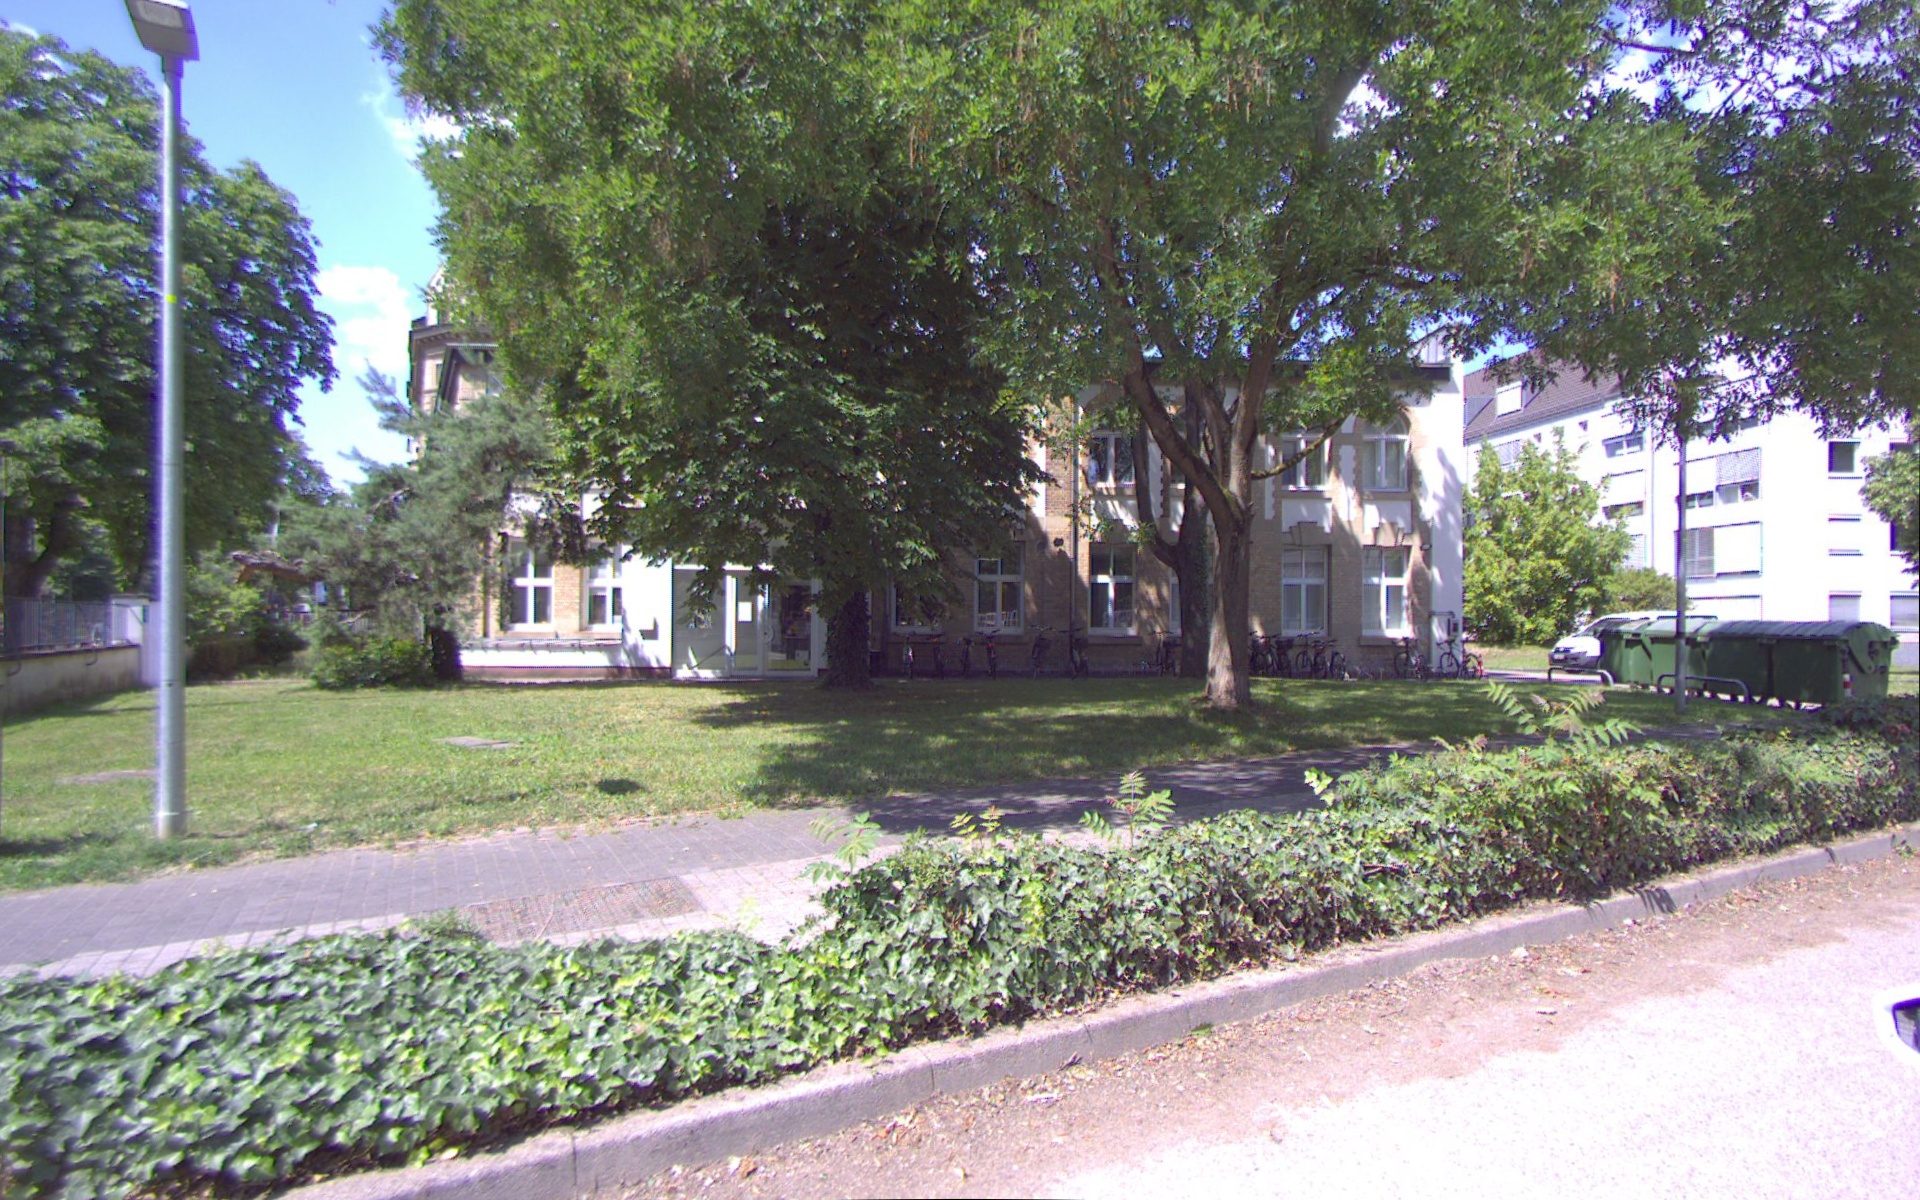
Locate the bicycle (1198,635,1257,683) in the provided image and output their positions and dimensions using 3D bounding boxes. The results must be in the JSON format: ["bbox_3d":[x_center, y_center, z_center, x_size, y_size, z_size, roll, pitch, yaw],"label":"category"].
[{"bbox_3d":[6.312,1.367,23.814,0.596,1.025,2.258,0,-1,-5],"label":"bicycle"}]

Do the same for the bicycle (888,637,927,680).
[{"bbox_3d":[-1.239,1.333,23.249,0.644,0.902,2.256,0,-1,-9],"label":"bicycle"}]

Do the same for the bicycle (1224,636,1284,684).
[{"bbox_3d":[6.964,1.403,23.891,0.596,1.025,2.258,0,-1,-5],"label":"bicycle"}]

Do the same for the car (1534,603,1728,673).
[{"bbox_3d":[20.543,1.162,30.884,4.682,2.040,2.000,0,-1,-2],"label":"car"}]

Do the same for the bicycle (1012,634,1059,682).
[{"bbox_3d":[1.760,1.338,23.719,0.596,1.025,2.256,0,-1,-9],"label":"bicycle"}]

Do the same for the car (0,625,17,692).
[{"bbox_3d":[-21.725,1.285,21.030,1.927,1.463,3.747,0,-1,-27],"label":"car"}]

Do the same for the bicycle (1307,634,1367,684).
[{"bbox_3d":[8.979,1.375,24.008,0.595,1.096,2.260,0,-1,0],"label":"bicycle"}]

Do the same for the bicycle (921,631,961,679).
[{"bbox_3d":[-0.465,1.269,23.533,0.621,1.025,2.256,0,-1,-9],"label":"bicycle"}]

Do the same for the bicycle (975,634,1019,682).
[{"bbox_3d":[0.846,1.332,23.636,0.596,1.025,2.256,0,-1,-9],"label":"bicycle"}]

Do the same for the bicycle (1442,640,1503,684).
[{"bbox_3d":[12.314,1.467,24.179,0.601,0.971,1.730,0,-1,0],"label":"bicycle"}]

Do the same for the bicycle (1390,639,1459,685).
[{"bbox_3d":[11.080,1.455,24.036,0.595,0.971,2.260,0,-1,0],"label":"bicycle"}]

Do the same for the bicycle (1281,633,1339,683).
[{"bbox_3d":[8.349,1.367,24.030,0.595,1.096,2.260,0,-1,0],"label":"bicycle"}]

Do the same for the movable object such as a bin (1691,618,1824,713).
[{"bbox_3d":[13.194,1.044,16.660,1.077,1.499,1.357,0,-1,-12],"label":"movable object such as a bin"}]

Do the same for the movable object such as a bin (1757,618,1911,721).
[{"bbox_3d":[13.295,1.026,15.333,1.185,1.499,1.324,0,-1,-5],"label":"movable object such as a bin"}]

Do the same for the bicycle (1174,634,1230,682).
[{"bbox_3d":[5.680,1.348,23.719,0.596,1.025,2.258,0,-1,-5],"label":"bicycle"}]

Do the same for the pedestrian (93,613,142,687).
[{"bbox_3d":[-18.469,1.089,22.038,0.689,1.588,0.738,1,-1,-32],"label":"pedestrian"}]

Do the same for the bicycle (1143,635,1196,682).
[{"bbox_3d":[4.929,1.355,23.736,0.596,1.025,2.258,0,-1,-5],"label":"bicycle"}]

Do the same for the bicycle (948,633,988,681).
[{"bbox_3d":[0.176,1.322,23.606,0.560,1.025,2.256,0,-1,-9],"label":"bicycle"}]

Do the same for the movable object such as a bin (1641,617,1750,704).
[{"bbox_3d":[13.199,1.064,18.075,1.027,1.499,1.262,0,-1,-1],"label":"movable object such as a bin"}]

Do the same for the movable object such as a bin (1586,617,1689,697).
[{"bbox_3d":[13.195,1.086,19.615,1.027,1.499,1.410,0,-1,-1],"label":"movable object such as a bin"}]

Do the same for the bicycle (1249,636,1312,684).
[{"bbox_3d":[7.609,1.405,23.923,0.596,1.025,2.258,0,-1,-5],"label":"bicycle"}]

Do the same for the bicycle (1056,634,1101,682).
[{"bbox_3d":[2.773,1.352,23.749,0.596,1.025,2.258,0,-1,-5],"label":"bicycle"}]
